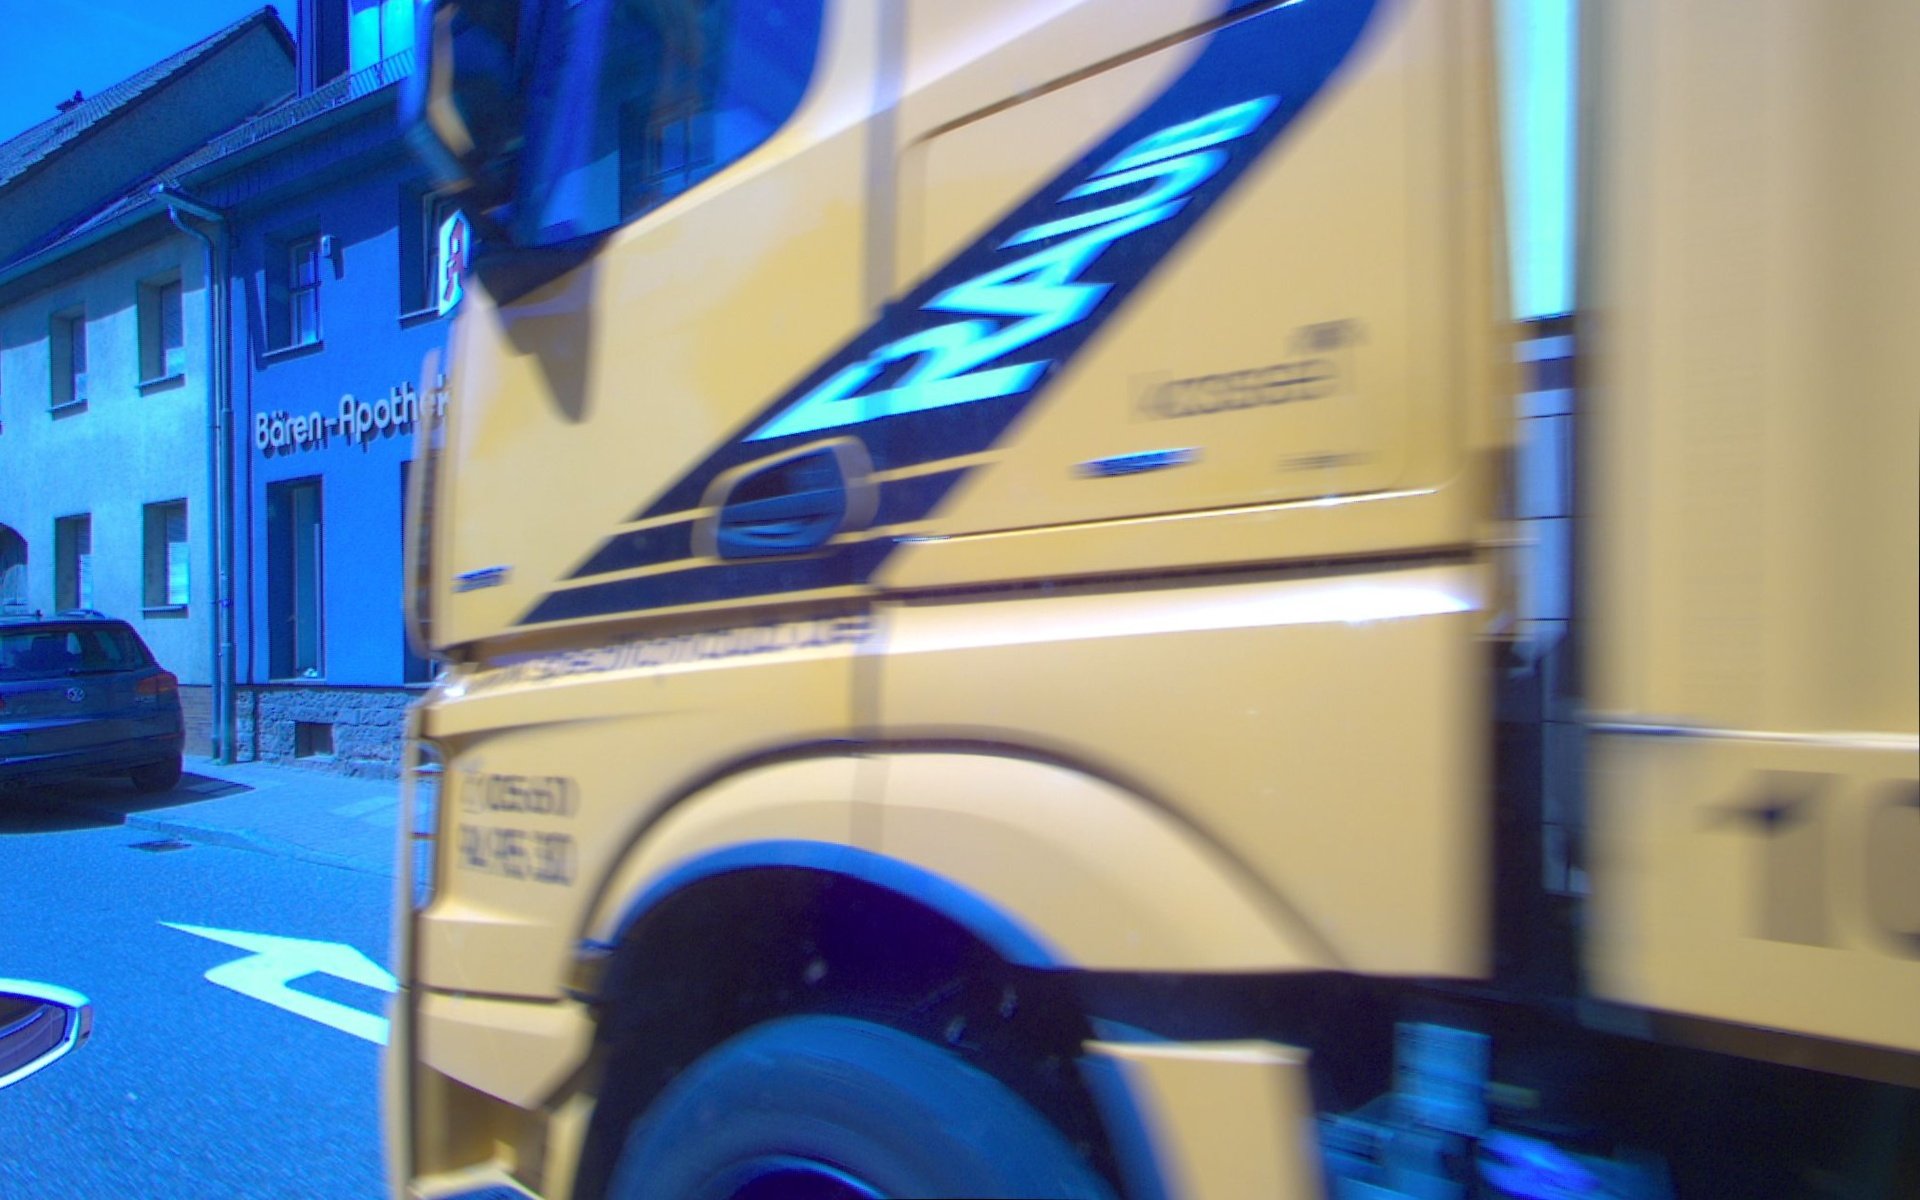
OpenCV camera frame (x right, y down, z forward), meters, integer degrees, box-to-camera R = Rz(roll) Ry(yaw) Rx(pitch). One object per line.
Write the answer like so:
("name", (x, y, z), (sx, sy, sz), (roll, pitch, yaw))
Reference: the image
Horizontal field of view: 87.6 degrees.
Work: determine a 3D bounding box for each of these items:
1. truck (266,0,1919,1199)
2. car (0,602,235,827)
("truck", (3.397, -0.402, 0.794), (9.845, 3.994, 2.606), (0, -3, 32))
("car", (-8.856, 0.925, 9.355), (4.042, 1.731, 1.989), (-1, 0, 32))
